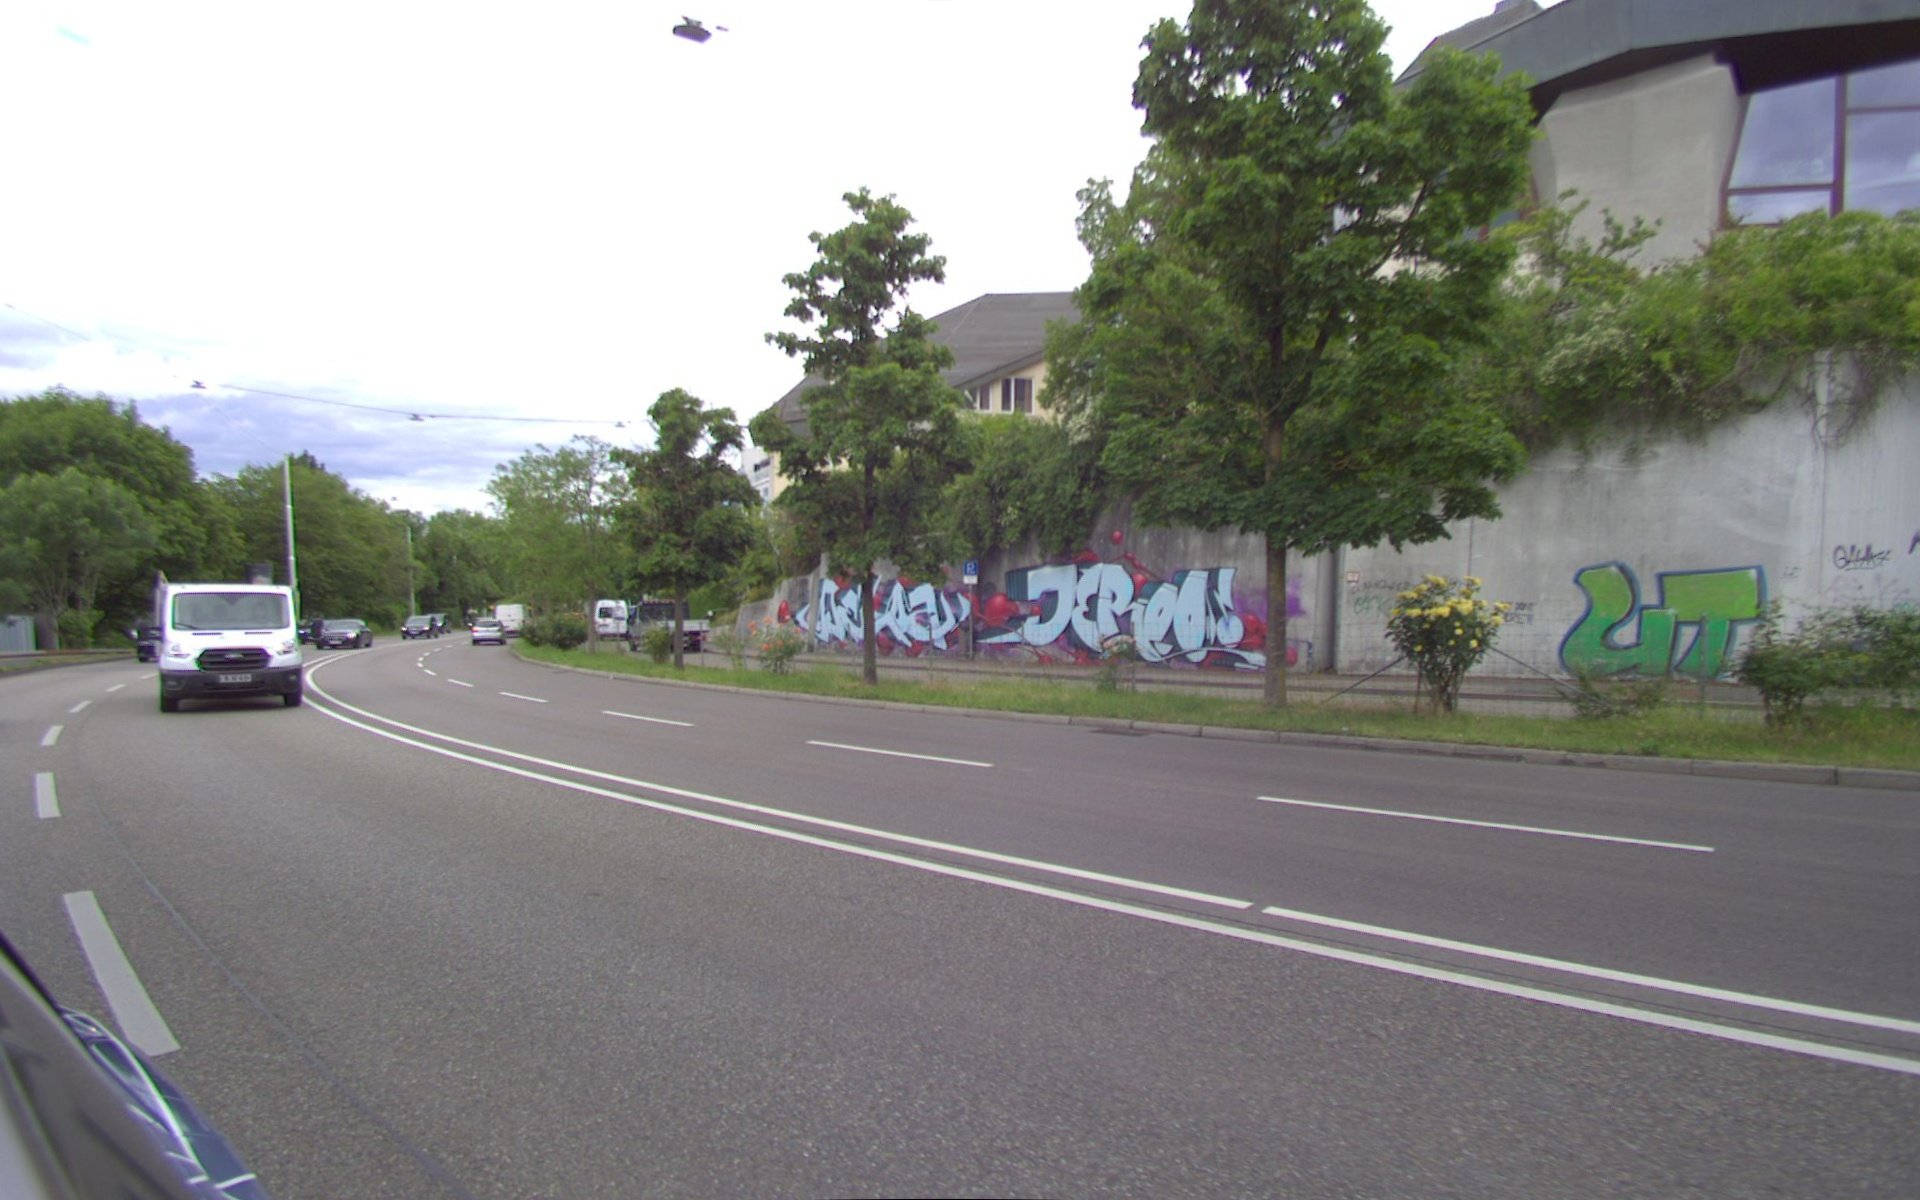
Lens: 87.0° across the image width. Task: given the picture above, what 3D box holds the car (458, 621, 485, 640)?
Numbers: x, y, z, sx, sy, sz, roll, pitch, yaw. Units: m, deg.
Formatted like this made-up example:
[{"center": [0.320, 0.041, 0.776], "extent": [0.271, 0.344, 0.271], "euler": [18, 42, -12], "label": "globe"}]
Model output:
[{"center": [-38.572, 2.381, 79.947], "extent": [1.711, 1.425, 4.443], "euler": [1, -2, -23], "label": "car"}]

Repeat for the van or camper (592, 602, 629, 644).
[{"center": [-22.221, 1.437, 64.513], "extent": [1.966, 2.491, 5.726], "euler": [0, -1, -16], "label": "van or camper"}]

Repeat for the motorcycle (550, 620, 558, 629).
[{"center": [-48.528, 2.903, 120.923], "extent": [0.477, 1.064, 2.274], "euler": [0, -1, -12], "label": "motorcycle"}]

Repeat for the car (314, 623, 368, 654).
[{"center": [-31.416, 1.928, 51.439], "extent": [1.708, 1.422, 4.013], "euler": [-2, 0, -23], "label": "car"}]

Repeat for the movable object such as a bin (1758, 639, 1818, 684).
[{"center": [13.365, 0.989, 16.349], "extent": [0.577, 0.645, 0.555], "euler": [-4, 2, 22], "label": "movable object such as a bin"}]

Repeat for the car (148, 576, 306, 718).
[{"center": [-13.645, 0.813, 18.652], "extent": [1.968, 2.190, 6.279], "euler": [0, -2, -40], "label": "car"}]

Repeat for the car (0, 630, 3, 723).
[{"center": [-13.568, 1.103, 12.641], "extent": [1.792, 1.357, 4.010], "euler": [1, -1, -36], "label": "car"}]

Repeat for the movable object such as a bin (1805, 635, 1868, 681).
[{"center": [13.961, 0.920, 16.141], "extent": [0.577, 0.645, 0.555], "euler": [-4, 2, 22], "label": "movable object such as a bin"}]

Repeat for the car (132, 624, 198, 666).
[{"center": [-29.449, 1.623, 37.585], "extent": [1.706, 1.421, 4.010], "euler": [-1, -1, -35], "label": "car"}]

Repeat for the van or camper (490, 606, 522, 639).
[{"center": [-33.107, 1.644, 73.730], "extent": [1.980, 2.278, 5.981], "euler": [0, -1, -25], "label": "van or camper"}]

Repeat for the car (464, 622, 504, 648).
[{"center": [-27.444, 2.016, 58.240], "extent": [1.679, 1.419, 3.820], "euler": [0, -1, -32], "label": "car"}]

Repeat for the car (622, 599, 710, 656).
[{"center": [-12.851, 1.133, 43.924], "extent": [2.236, 2.290, 6.346], "euler": [0, -1, -30], "label": "car"}]

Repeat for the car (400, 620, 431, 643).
[{"center": [-38.829, 2.215, 72.193], "extent": [1.701, 1.489, 4.013], "euler": [-2, 0, -26], "label": "car"}]
